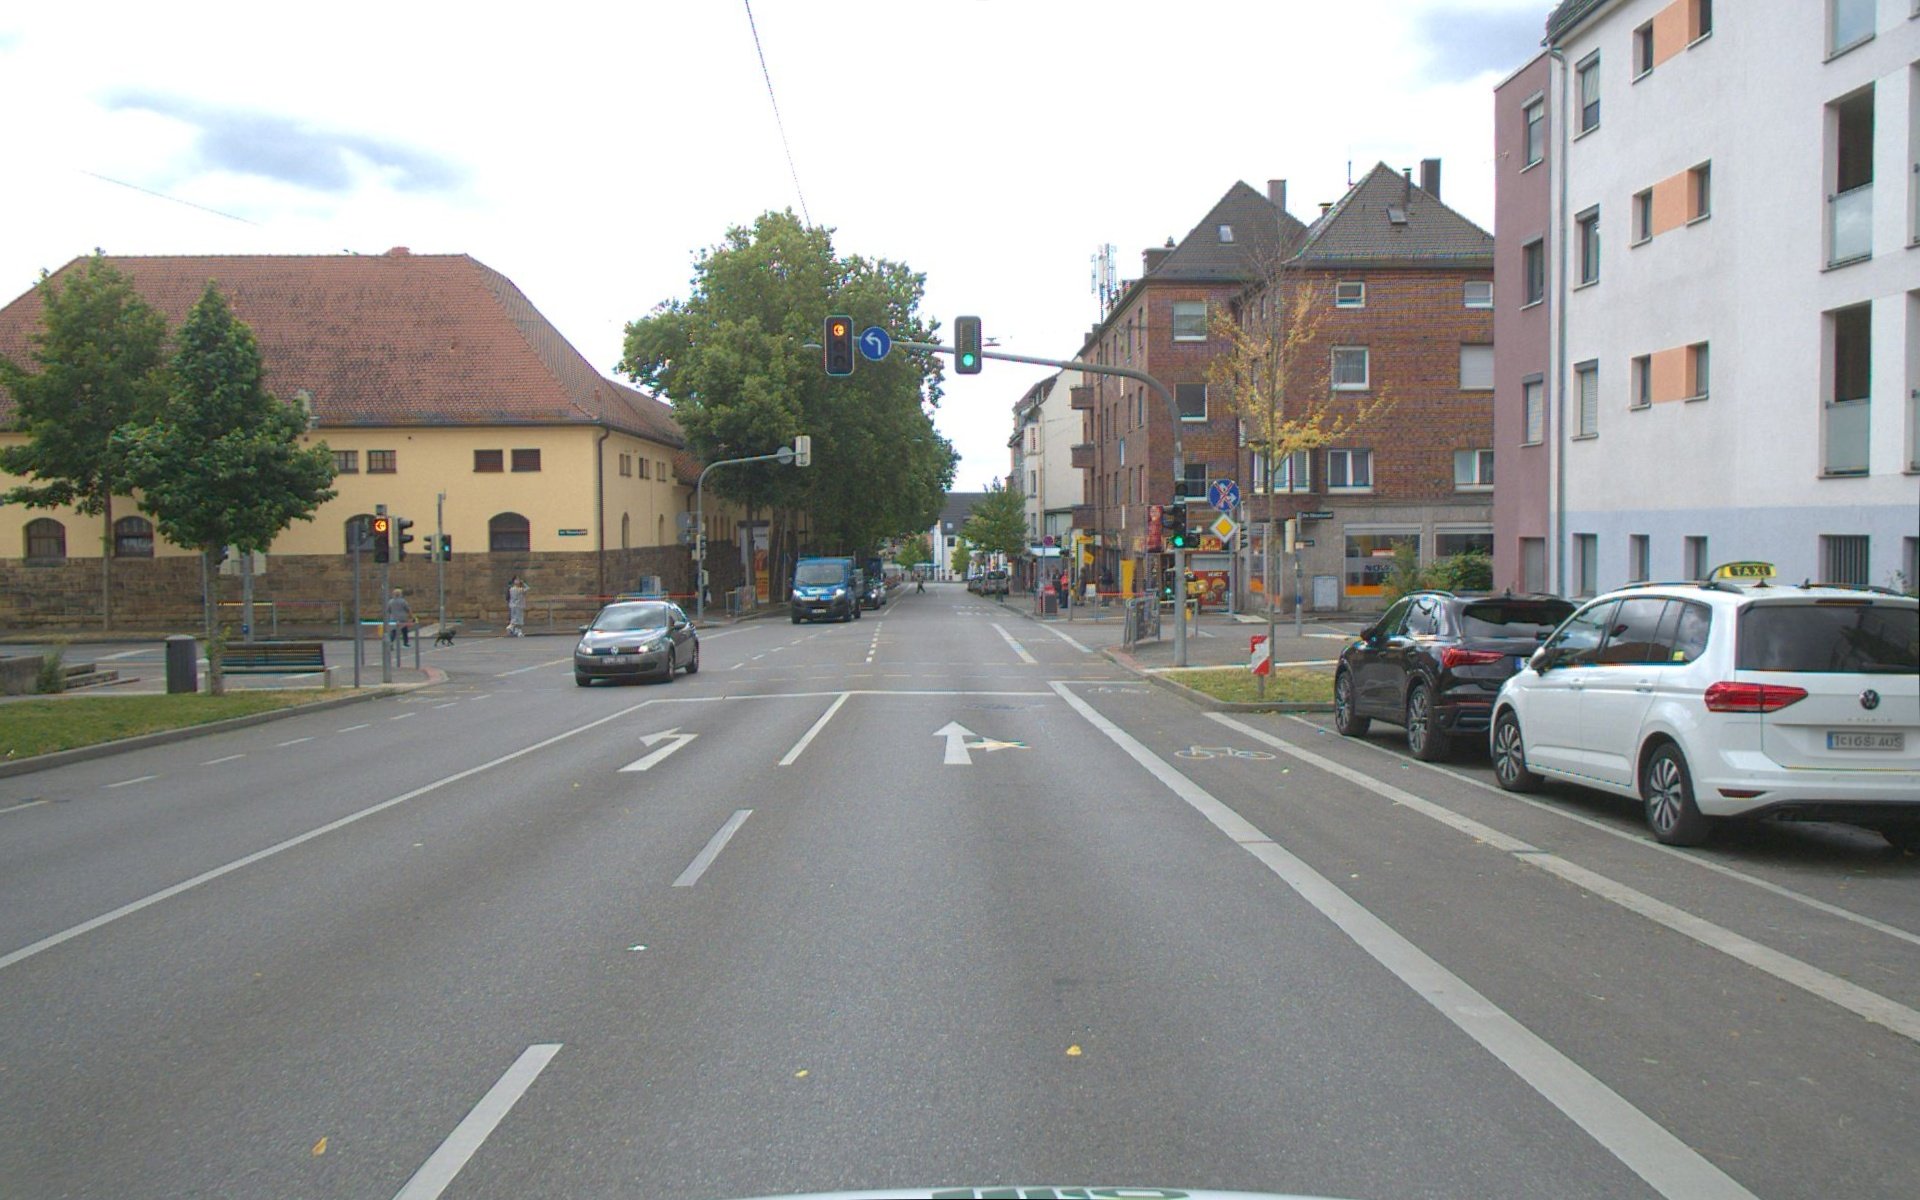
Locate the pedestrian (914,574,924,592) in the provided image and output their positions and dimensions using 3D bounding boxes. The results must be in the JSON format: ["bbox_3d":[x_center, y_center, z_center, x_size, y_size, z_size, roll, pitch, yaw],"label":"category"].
[{"bbox_3d":[-3.571,-1.505,144.138,0.664,1.563,0.606,-1,1,-26],"label":"pedestrian"}]

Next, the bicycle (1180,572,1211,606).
[{"bbox_3d":[8.507,-0.410,59.775,0.744,1.214,2.391,0,1,-1],"label":"bicycle"}]

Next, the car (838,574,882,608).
[{"bbox_3d":[-4.570,-0.423,75.774,1.668,1.439,4.193,-2,1,1],"label":"car"}]

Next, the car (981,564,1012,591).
[{"bbox_3d":[2.751,-1.700,125.521,1.954,1.969,4.915,0,1,-4],"label":"car"}]

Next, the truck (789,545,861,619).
[{"bbox_3d":[-4.805,-0.674,59.752,2.249,2.469,6.408,-2,1,-2],"label":"truck"}]

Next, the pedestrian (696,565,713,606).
[{"bbox_3d":[-11.281,-0.659,73.073,0.660,1.795,0.725,0,0,-1],"label":"pedestrian"}]

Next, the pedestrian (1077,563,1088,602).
[{"bbox_3d":[5.692,-0.815,77.072,0.469,1.795,0.458,0,0,-1],"label":"pedestrian"}]

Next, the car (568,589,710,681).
[{"bbox_3d":[-5.964,0.602,31.171,1.720,1.498,4.307,-2,1,1],"label":"car"}]

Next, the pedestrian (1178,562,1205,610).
[{"bbox_3d":[8.386,-0.523,59.966,0.772,1.685,0.772,-3,1,-1],"label":"pedestrian"}]

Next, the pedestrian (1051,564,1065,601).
[{"bbox_3d":[4.779,-0.855,80.568,0.656,1.758,0.764,0,1,4],"label":"pedestrian"}]

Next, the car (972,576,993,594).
[{"bbox_3d":[2.009,-1.330,148.879,1.635,1.574,3.754,0,1,-4],"label":"car"}]

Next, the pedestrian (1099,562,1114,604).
[{"bbox_3d":[6.221,-0.732,70.355,0.633,1.780,0.778,0,1,4],"label":"pedestrian"}]

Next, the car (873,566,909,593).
[{"bbox_3d":[-3.661,-1.068,88.078,1.651,1.298,4.095,-3,0,1],"label":"car"}]

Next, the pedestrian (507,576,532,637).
[{"bbox_3d":[-13.342,0.189,50.075,0.552,1.808,0.717,0,1,-2],"label":"pedestrian"}]

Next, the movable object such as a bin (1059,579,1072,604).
[{"bbox_3d":[4.650,-0.367,72.844,0.443,1.075,0.410,0,0,19],"label":"movable object such as a bin"}]

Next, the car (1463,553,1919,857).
[{"bbox_3d":[5.203,0.579,11.845,1.625,1.745,4.550,1,1,-2],"label":"car"}]

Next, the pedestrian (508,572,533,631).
[{"bbox_3d":[-13.526,0.038,50.930,0.552,1.808,0.842,0,1,-2],"label":"pedestrian"}]

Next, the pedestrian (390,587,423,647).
[{"bbox_3d":[-14.809,0.455,44.259,0.552,1.594,0.843,0,1,4],"label":"pedestrian"}]

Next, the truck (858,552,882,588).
[{"bbox_3d":[-8.761,-2.947,161.360,2.186,3.404,7.447,0,1,-2],"label":"truck"}]

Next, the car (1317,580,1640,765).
[{"bbox_3d":[5.099,0.634,16.962,1.699,1.616,4.571,1,0,-2],"label":"car"}]

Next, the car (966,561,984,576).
[{"bbox_3d":[1.612,-3.395,178.761,1.635,1.574,3.754,0,1,-4],"label":"car"}]

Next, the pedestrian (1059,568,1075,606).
[{"bbox_3d":[4.722,-0.588,73.017,0.553,1.665,0.681,0,1,19],"label":"pedestrian"}]

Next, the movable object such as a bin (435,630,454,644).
[{"bbox_3d":[-14.076,1.004,45.178,0.300,0.353,0.581,0,1,4],"label":"movable object such as a bin"}]
